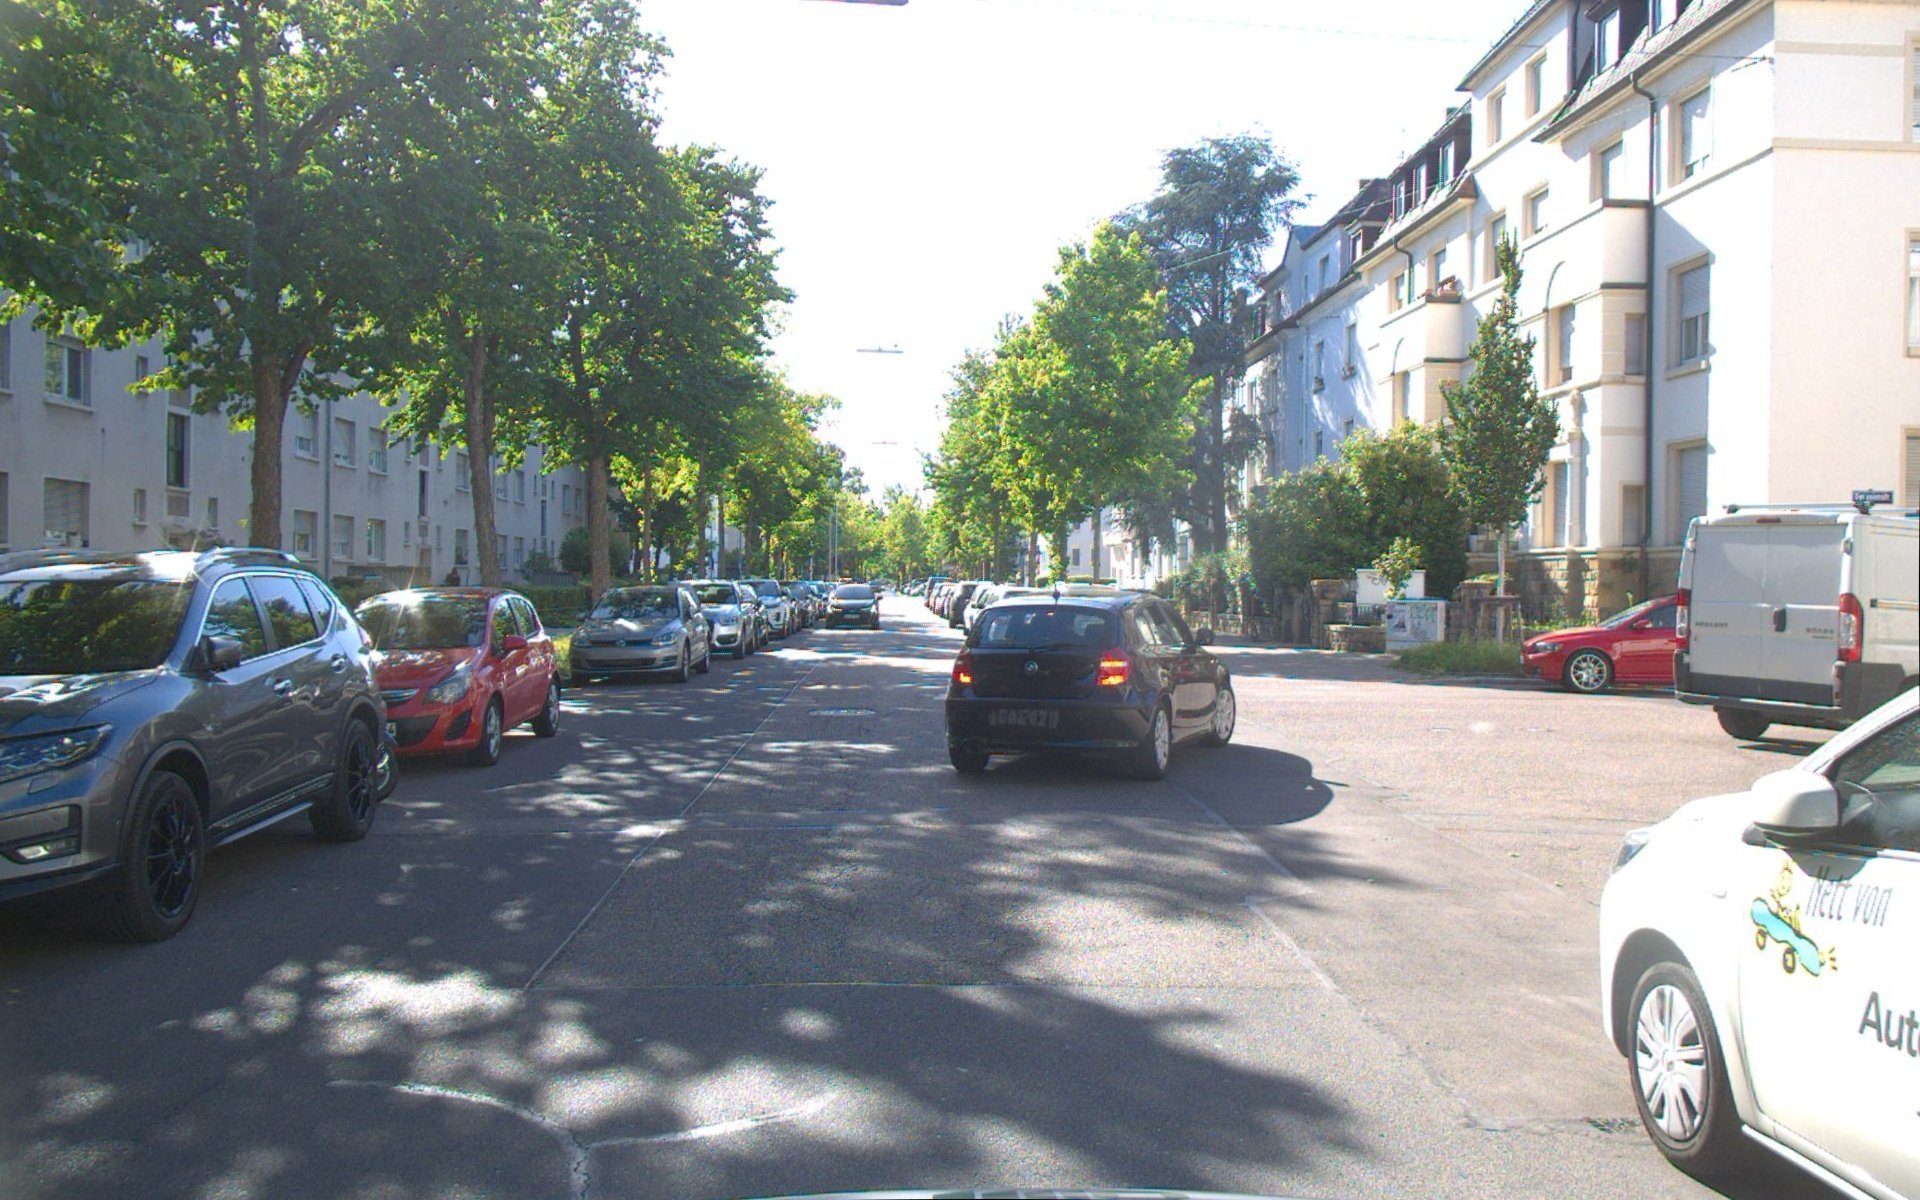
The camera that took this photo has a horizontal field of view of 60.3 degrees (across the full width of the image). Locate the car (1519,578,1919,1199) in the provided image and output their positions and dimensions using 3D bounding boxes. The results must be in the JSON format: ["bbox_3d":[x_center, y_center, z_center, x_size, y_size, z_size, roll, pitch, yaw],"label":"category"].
[{"bbox_3d":[2.786,0.728,3.348,1.698,1.513,4.006,1,1,-4],"label":"car"}]

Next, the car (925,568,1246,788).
[{"bbox_3d":[1.208,0.522,13.842,1.745,1.550,4.002,0,1,19],"label":"car"}]

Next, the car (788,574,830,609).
[{"bbox_3d":[-7.099,-0.408,77.874,1.775,1.624,4.231,0,1,-3],"label":"car"}]

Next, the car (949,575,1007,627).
[{"bbox_3d":[0.588,-0.009,59.291,1.887,1.680,5.094,2,1,-1],"label":"car"}]

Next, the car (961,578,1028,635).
[{"bbox_3d":[1.001,0.162,49.724,1.621,1.559,3.966,3,1,-4],"label":"car"}]

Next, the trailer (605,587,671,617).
[{"bbox_3d":[-11.682,0.054,60.182,1.752,1.052,3.281,1,1,0],"label":"trailer"}]

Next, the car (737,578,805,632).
[{"bbox_3d":[-5.805,0.127,51.222,1.694,1.503,4.617,-3,1,-2],"label":"car"}]

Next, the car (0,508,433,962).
[{"bbox_3d":[-4.261,0.483,8.615,1.732,1.717,4.811,0,1,-3],"label":"car"}]

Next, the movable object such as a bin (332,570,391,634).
[{"bbox_3d":[-12.828,0.036,35.492,0.912,1.347,1.377,0,0,-8],"label":"movable object such as a bin"}]

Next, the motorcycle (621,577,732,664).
[{"bbox_3d":[-5.192,0.346,30.169,0.981,1.530,2.199,-1,1,-42],"label":"motorcycle"}]

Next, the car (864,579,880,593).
[{"bbox_3d":[-10.912,-1.761,205.317,1.749,1.637,3.994,0,1,-7],"label":"car"}]

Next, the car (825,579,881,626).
[{"bbox_3d":[-3.557,0.062,55.146,1.773,1.471,4.363,-1,1,-3],"label":"car"}]

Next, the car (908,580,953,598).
[{"bbox_3d":[-2.698,-1.006,150.744,3.910,1.615,1.725,0,1,-7],"label":"car"}]

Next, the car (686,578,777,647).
[{"bbox_3d":[-5.365,0.249,39.329,1.694,1.472,4.818,-2,1,-3],"label":"car"}]

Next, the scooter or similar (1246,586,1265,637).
[{"bbox_3d":[7.218,0.272,40.408,0.393,1.205,1.207,0,1,12],"label":"scooter or similar"}]

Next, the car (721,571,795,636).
[{"bbox_3d":[-5.552,0.067,45.888,1.694,1.646,4.363,-3,1,-3],"label":"car"}]

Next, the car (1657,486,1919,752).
[{"bbox_3d":[9.701,0.144,16.691,4.978,2.346,2.216,0,1,-26],"label":"car"}]

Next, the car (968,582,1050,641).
[{"bbox_3d":[1.250,0.264,44.005,1.677,1.435,4.858,2,1,-4],"label":"car"}]

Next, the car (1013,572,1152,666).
[{"bbox_3d":[2.156,0.322,30.479,1.858,1.551,4.963,1,0,-4],"label":"car"}]

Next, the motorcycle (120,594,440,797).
[{"bbox_3d":[-4.722,0.639,11.554,1.912,1.355,0.788,0,1,5],"label":"motorcycle"}]

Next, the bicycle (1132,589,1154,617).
[{"bbox_3d":[6.729,0.106,60.912,0.569,0.992,1.903,0,1,-1],"label":"bicycle"}]

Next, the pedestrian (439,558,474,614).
[{"bbox_3d":[-17.432,-0.487,57.304,0.765,1.947,0.878,0,0,24],"label":"pedestrian"}]

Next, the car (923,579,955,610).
[{"bbox_3d":[-1.404,-0.400,109.278,1.931,1.983,4.982,0,1,-3],"label":"car"}]

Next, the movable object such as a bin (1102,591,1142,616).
[{"bbox_3d":[6.310,0.125,64.403,1.196,0.920,1.665,1,1,18],"label":"movable object such as a bin"}]

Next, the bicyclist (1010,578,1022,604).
[{"bbox_3d":[3.425,-0.533,101.206,0.663,1.580,1.020,0,0,-6],"label":"bicyclist"}]

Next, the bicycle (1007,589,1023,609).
[{"bbox_3d":[3.382,-0.079,101.643,0.670,1.173,2.400,0,1,-5],"label":"bicycle"}]

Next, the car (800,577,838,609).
[{"bbox_3d":[-7.168,-0.365,84.118,1.676,1.571,3.929,-2,1,-2],"label":"car"}]

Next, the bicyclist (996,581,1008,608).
[{"bbox_3d":[2.559,-0.318,101.234,0.664,1.637,0.921,0,0,-6],"label":"bicyclist"}]

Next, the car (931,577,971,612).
[{"bbox_3d":[-0.521,-0.331,88.980,1.869,1.728,4.311,3,1,-3],"label":"car"}]

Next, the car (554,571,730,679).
[{"bbox_3d":[-4.934,0.331,26.323,2.001,1.550,4.605,0,1,-1],"label":"car"}]

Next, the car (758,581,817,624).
[{"bbox_3d":[-6.017,0.053,58.137,1.744,1.403,4.261,-1,1,-2],"label":"car"}]

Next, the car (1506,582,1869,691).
[{"bbox_3d":[10.644,0.502,24.560,4.617,1.495,1.955,1,0,12],"label":"car"}]

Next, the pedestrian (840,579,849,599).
[{"bbox_3d":[-11.006,-1.070,157.392,0.702,1.933,0.834,0,1,-12],"label":"pedestrian"}]

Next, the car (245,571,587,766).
[{"bbox_3d":[-4.668,0.499,14.861,1.819,1.495,4.180,0,1,-2],"label":"car"}]

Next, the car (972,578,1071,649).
[{"bbox_3d":[1.380,0.271,39.018,1.785,1.495,4.906,2,1,-4],"label":"car"}]

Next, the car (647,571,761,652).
[{"bbox_3d":[-5.206,0.193,34.147,2.024,1.550,4.717,0,1,-5],"label":"car"}]
